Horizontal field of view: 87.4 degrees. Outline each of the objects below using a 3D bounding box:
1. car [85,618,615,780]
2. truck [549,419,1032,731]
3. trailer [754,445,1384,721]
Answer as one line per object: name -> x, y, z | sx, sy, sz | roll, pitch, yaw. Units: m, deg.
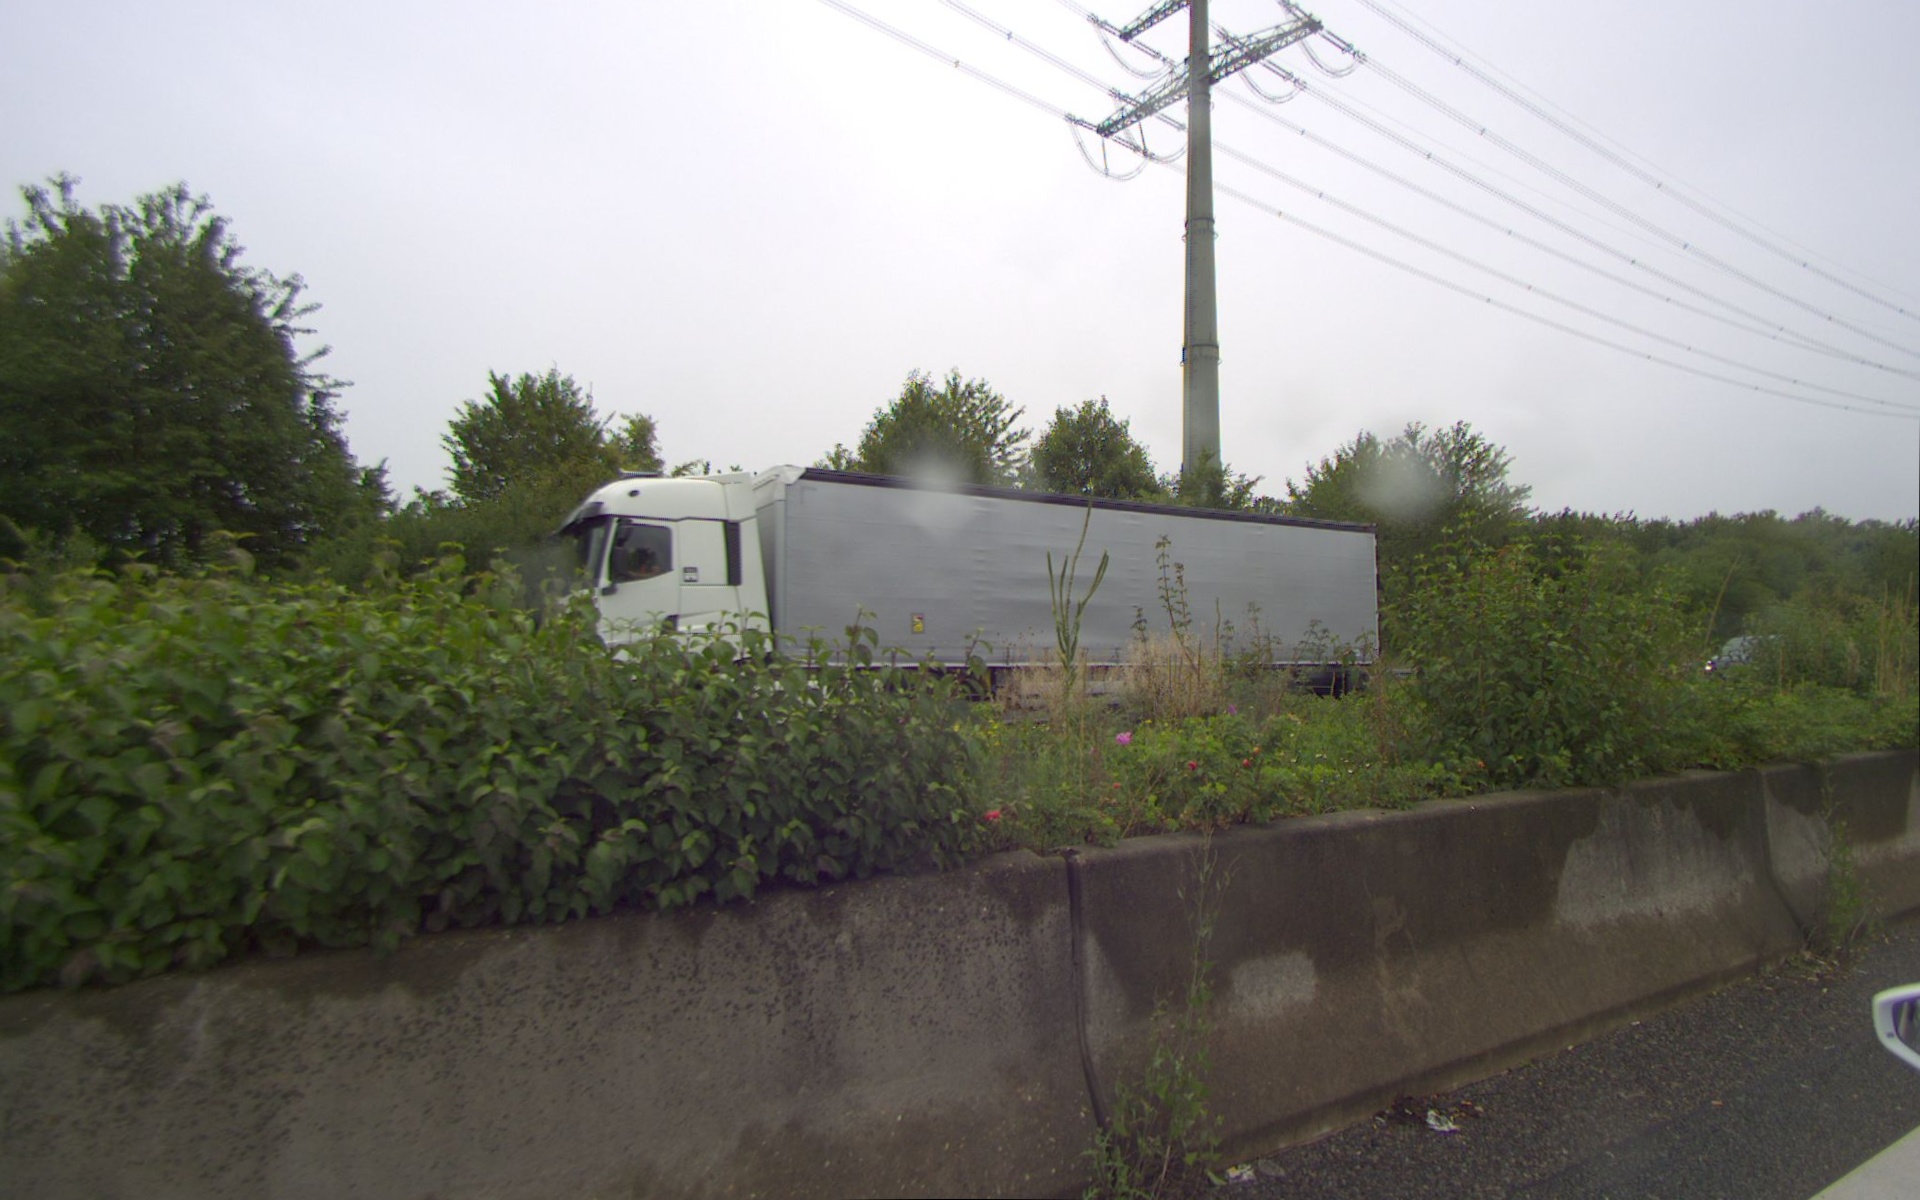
car -> -5.483, 0.825, 9.520 | 3.953, 1.224, 1.667 | 1, -1, -30
truck -> -2.573, -0.180, 16.157 | 7.151, 4.076, 2.772 | 1, -4, -31
trailer -> 2.765, -0.041, 19.376 | 13.100, 4.076, 2.772 | 1, -4, -31
